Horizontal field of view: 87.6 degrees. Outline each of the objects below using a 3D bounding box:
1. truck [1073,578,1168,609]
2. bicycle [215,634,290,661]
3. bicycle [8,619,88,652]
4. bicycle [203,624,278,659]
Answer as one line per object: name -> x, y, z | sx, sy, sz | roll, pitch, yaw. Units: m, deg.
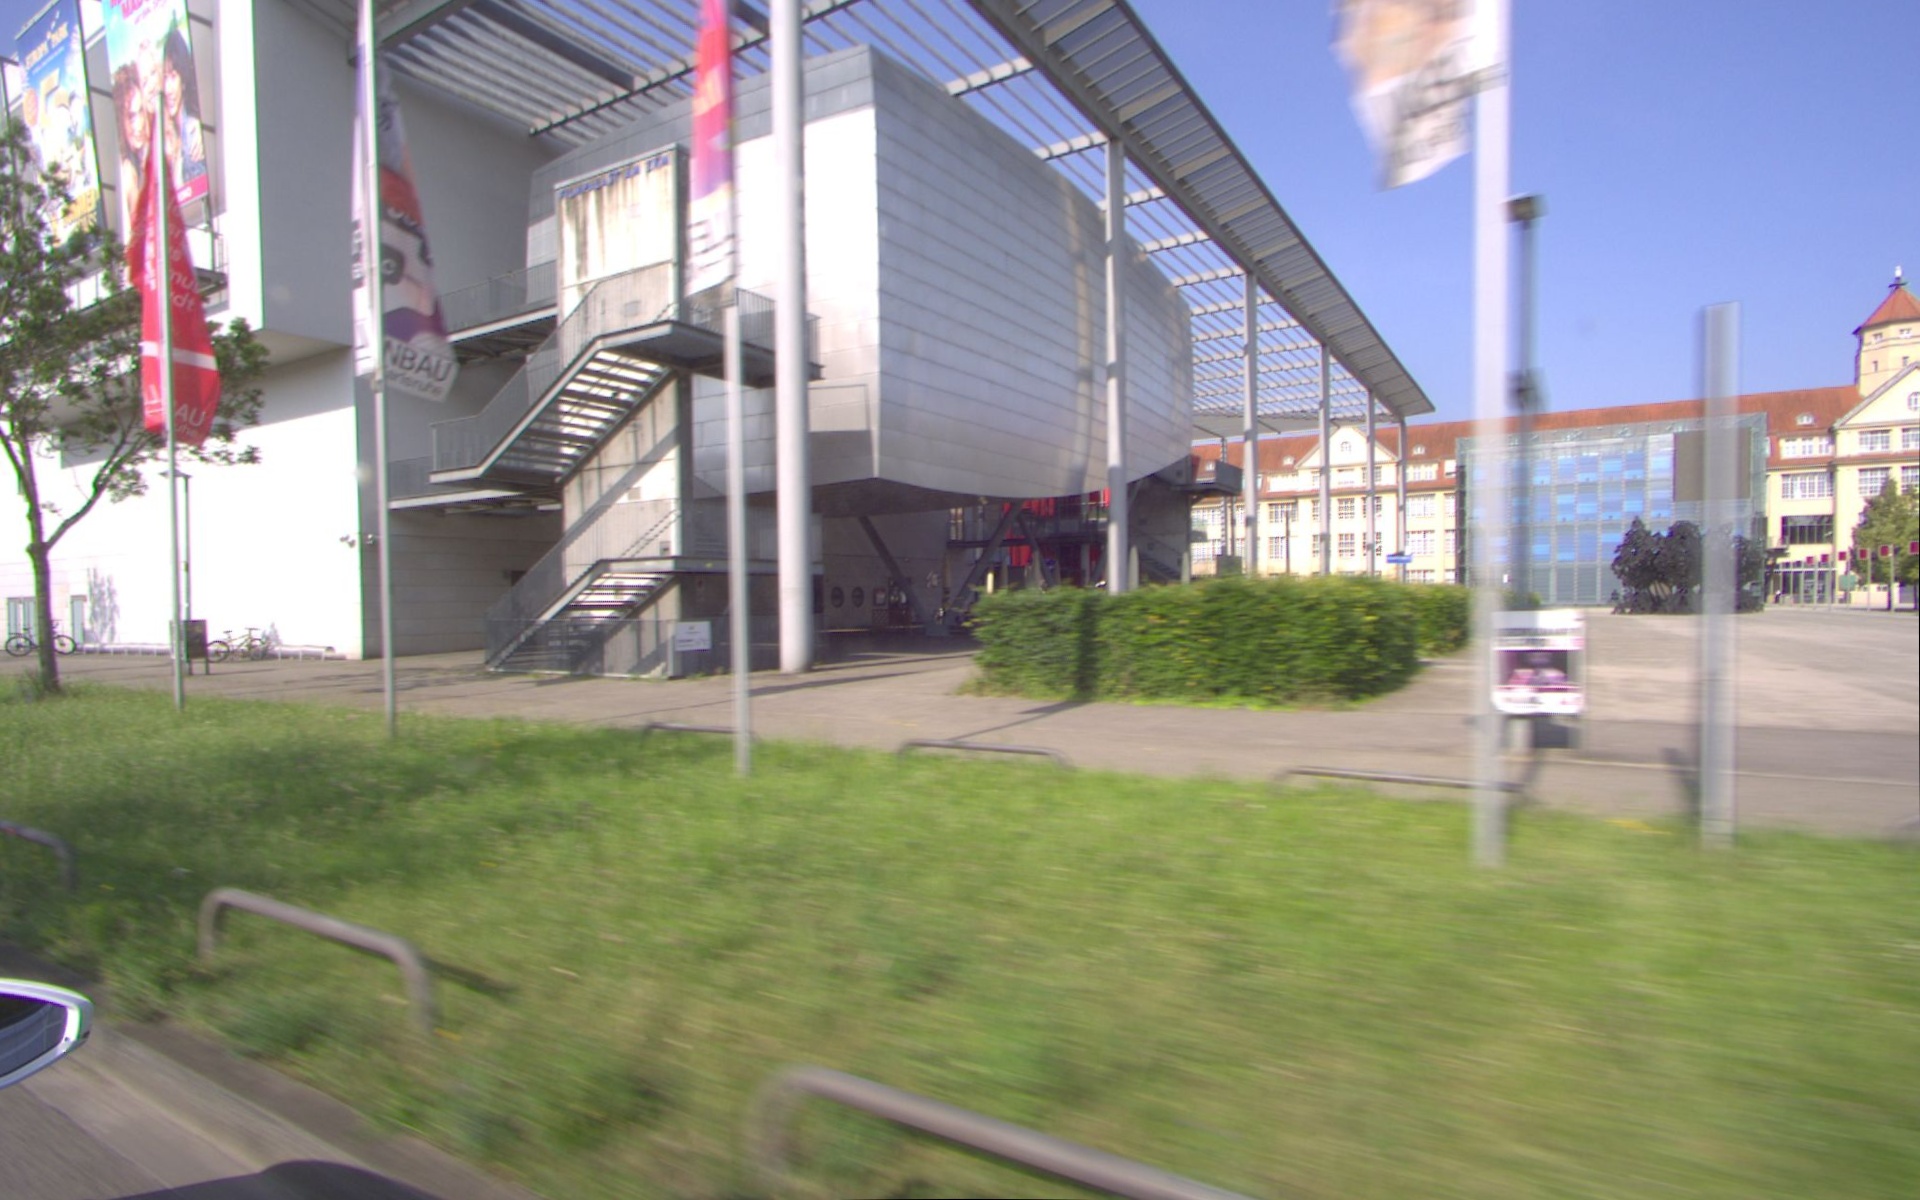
truck -> 10.194, -0.398, 63.805 | 5.609, 1.877, 1.990 | -1, 1, 30
bicycle -> -19.884, 1.320, 28.168 | 0.530, 0.653, 1.653 | 0, 1, 32
bicycle -> -32.689, 1.260, 35.907 | 0.667, 1.117, 2.001 | 0, 1, 36
bicycle -> -20.472, 1.159, 28.515 | 0.476, 0.927, 1.653 | 0, 1, 32
